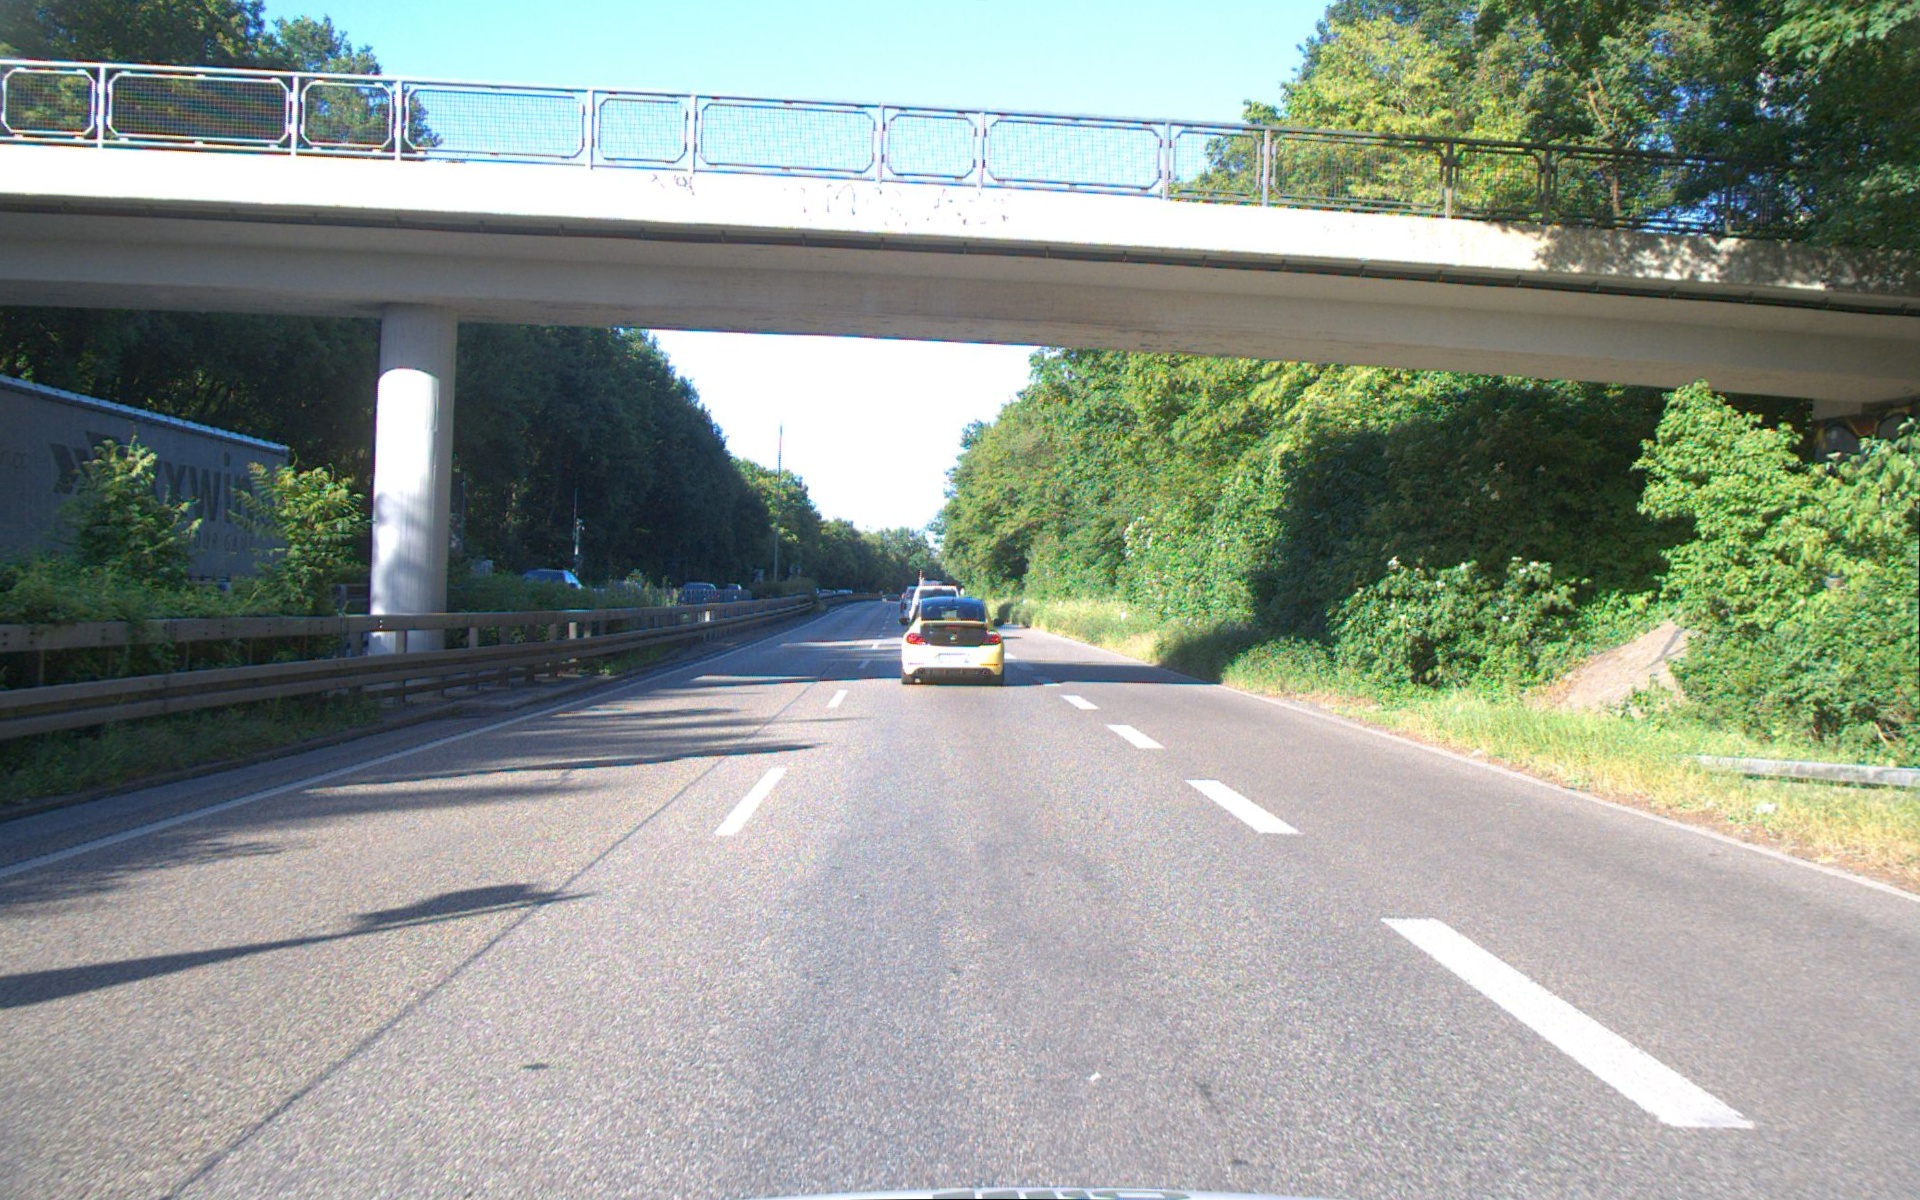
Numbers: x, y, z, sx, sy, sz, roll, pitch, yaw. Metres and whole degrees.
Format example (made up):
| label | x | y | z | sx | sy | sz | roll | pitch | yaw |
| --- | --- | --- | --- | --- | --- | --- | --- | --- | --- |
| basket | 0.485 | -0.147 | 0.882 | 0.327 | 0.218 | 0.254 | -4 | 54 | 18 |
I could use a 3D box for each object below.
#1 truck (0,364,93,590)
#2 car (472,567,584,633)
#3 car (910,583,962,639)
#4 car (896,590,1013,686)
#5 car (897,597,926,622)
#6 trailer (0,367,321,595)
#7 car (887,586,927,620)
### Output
| label | x | y | z | sx | sy | sz | roll | pitch | yaw |
| --- | --- | --- | --- | --- | --- | --- | --- | --- | --- |
| truck | -15.200 | -1.804 | 22.710 | 2.870 | 3.223 | 7.081 | 1 | 0 | -1 |
| car | -12.075 | -0.007 | 46.519 | 1.953 | 1.716 | 4.739 | 1 | 0 | -1 |
| car | -0.837 | 0.363 | 56.811 | 1.706 | 1.862 | 3.421 | 1 | 0 | -1 |
| car | -0.052 | 0.636 | 28.973 | 1.899 | 1.535 | 3.423 | 1 | 0 | 1 |
| car | -3.636 | 0.682 | 123.255 | 1.954 | 1.780 | 4.369 | 1 | 0 | -4 |
| trailer | -15.295 | -1.776 | 29.995 | 2.870 | 3.223 | 11.913 | 1 | 0 | -1 |
| car | -2.619 | 0.141 | 81.241 | 1.900 | 1.572 | 3.421 | 1 | 0 | -2 |
